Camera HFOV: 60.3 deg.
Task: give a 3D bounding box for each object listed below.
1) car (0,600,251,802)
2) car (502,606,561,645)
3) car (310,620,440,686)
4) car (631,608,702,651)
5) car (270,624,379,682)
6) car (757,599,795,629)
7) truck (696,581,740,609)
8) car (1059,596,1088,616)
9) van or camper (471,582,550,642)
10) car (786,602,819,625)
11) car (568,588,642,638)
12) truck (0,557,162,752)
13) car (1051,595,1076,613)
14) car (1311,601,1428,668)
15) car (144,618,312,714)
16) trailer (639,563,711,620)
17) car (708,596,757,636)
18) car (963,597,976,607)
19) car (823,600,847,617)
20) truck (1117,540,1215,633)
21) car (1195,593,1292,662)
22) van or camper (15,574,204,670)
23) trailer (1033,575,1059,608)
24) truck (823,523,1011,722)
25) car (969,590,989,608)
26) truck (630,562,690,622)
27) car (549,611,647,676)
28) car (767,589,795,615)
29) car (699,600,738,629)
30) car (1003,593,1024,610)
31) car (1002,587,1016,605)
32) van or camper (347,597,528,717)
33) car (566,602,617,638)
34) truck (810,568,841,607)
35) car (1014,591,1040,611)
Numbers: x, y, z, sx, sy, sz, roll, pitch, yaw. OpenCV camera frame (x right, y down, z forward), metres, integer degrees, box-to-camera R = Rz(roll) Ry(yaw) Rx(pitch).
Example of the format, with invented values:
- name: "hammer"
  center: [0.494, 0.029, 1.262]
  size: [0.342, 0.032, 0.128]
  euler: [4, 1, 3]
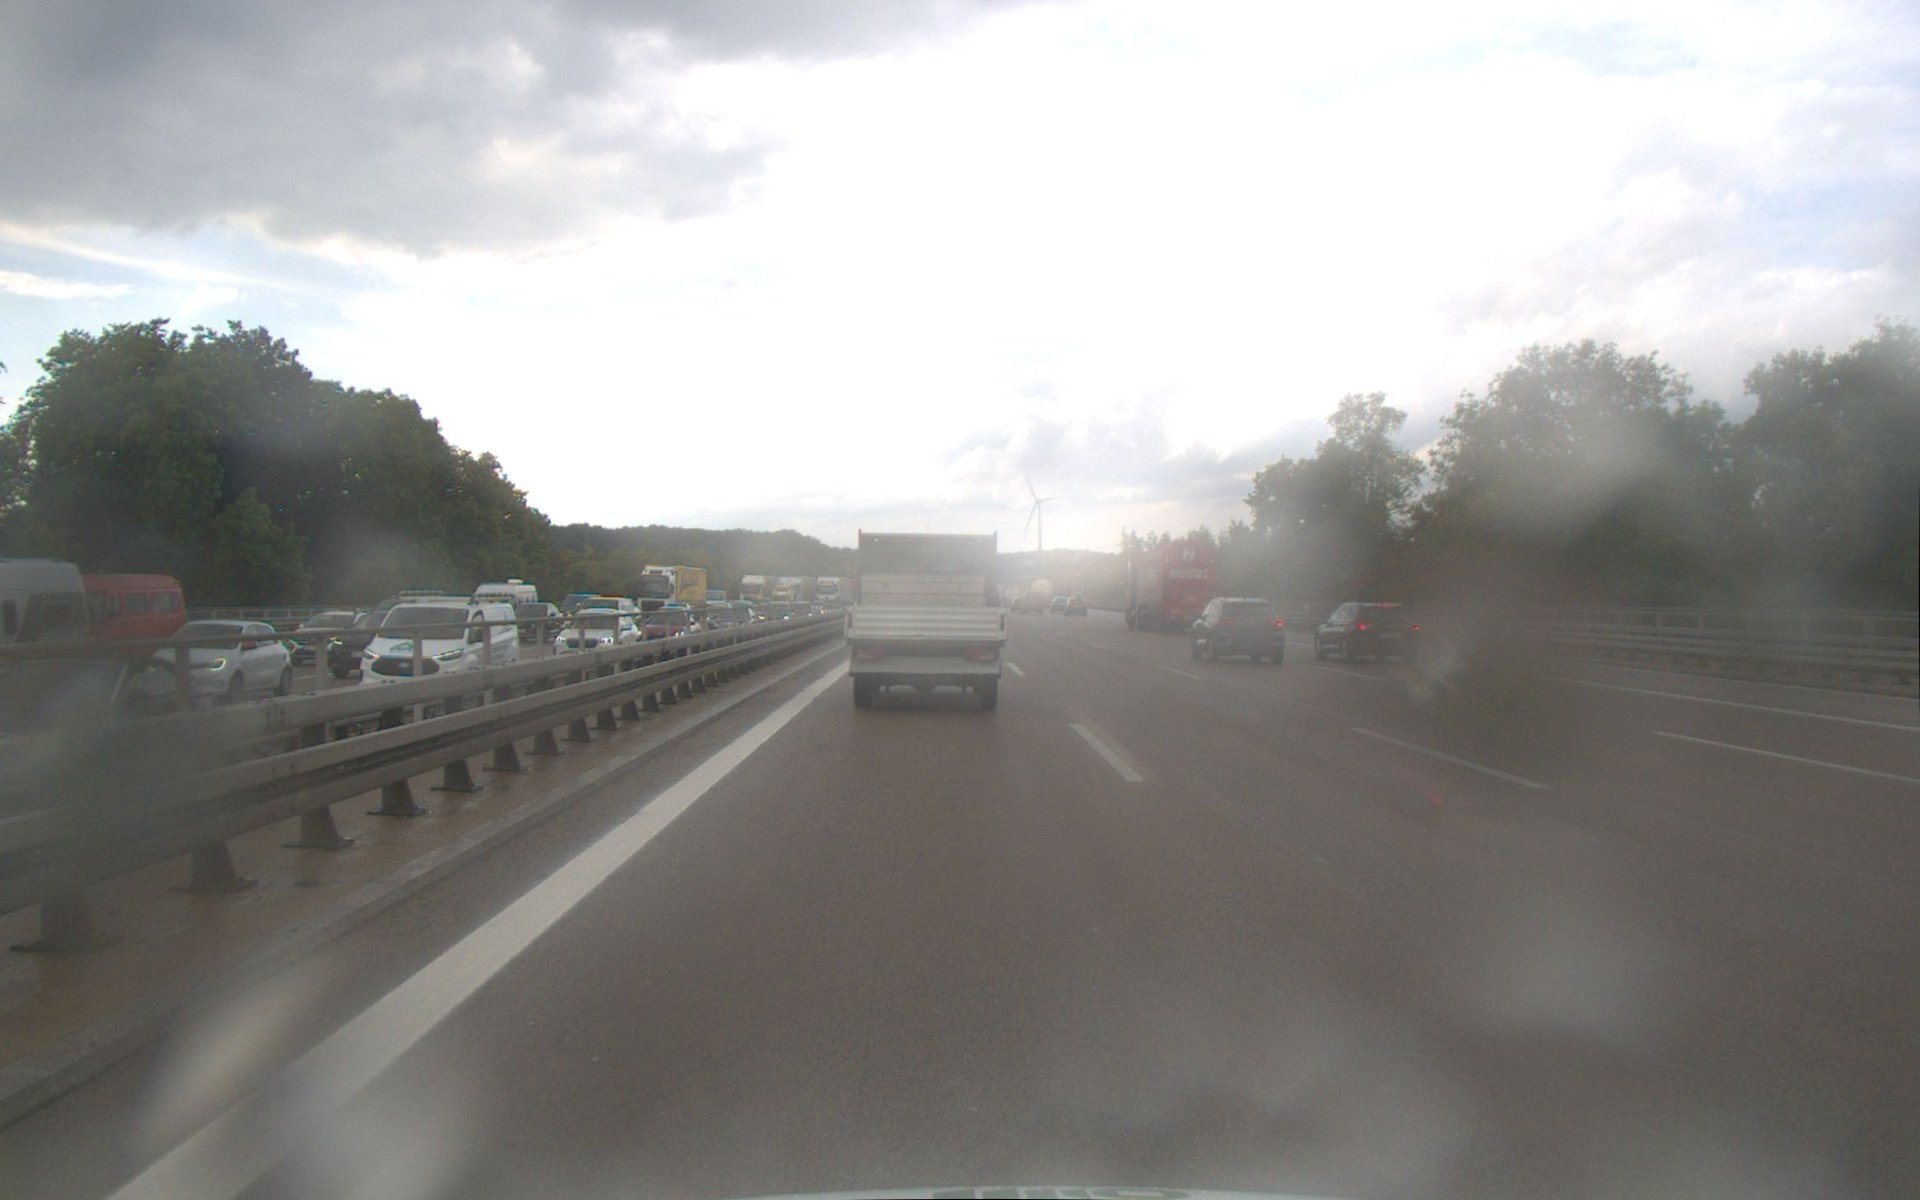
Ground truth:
- name: "car"
  center: [-10.020, 1.019, 18.876]
  size: [1.908, 1.983, 4.724]
  euler: [0, 0, -1]
- name: "car"
  center: [-18.417, 1.082, 71.189]
  size: [1.643, 1.607, 3.998]
  euler: [-1, 0, -2]
- name: "car"
  center: [-14.546, 1.275, 41.389]
  size: [1.643, 1.433, 5.014]
  euler: [0, 0, -2]
- name: "car"
  center: [-10.815, 1.059, 61.297]
  size: [1.836, 1.416, 5.363]
  euler: [0, 0, -2]
- name: "car"
  center: [-18.319, 1.510, 47.861]
  size: [1.754, 1.527, 3.998]
  euler: [-1, 0, -2]
- name: "car"
  center: [-10.880, 0.804, 98.106]
  size: [1.830, 1.699, 5.172]
  euler: [0, 0, -2]
- name: "truck"
  center: [-22.113, -0.437, 151.668]
  size: [2.625, 2.413, 9.274]
  euler: [-1, 0, 0]
- name: "car"
  center: [9.763, 0.492, 142.846]
  size: [2.062, 1.634, 5.064]
  euler: [0, 0, -1]
- name: "van or camper"
  center: [-22.050, 0.541, 81.490]
  size: [2.157, 2.813, 7.228]
  euler: [0, 0, -2]
- name: "car"
  center: [-10.620, 0.913, 111.862]
  size: [1.954, 1.488, 4.840]
  euler: [0, 0, -2]
- name: "car"
  center: [-14.432, 0.531, 67.495]
  size: [1.854, 1.935, 5.002]
  euler: [-1, 0, 1]
- name: "truck"
  center: [-14.097, 0.746, 22.964]
  size: [2.103, 2.648, 8.752]
  euler: [0, 0, -2]
- name: "car"
  center: [10.317, 0.359, 165.322]
  size: [2.004, 1.729, 5.005]
  euler: [0, 0, -1]
- name: "car"
  center: [10.262, 0.830, 41.716]
  size: [1.778, 1.570, 4.356]
  euler: [0, 0, -1]
- name: "car"
  center: [-14.249, 1.235, 32.425]
  size: [1.643, 1.664, 3.998]
  euler: [0, 0, -2]
- name: "trailer"
  center: [-22.417, -0.648, 131.100]
  size: [3.181, 4.302, 14.509]
  euler: [-1, 0, 0]
- name: "car"
  center: [-11.254, 0.753, 82.085]
  size: [1.828, 1.858, 5.706]
  euler: [0, 0, -2]
- name: "car"
  center: [1.311, 0.267, 236.541]
  size: [1.775, 1.471, 3.999]
  euler: [0, 0, -1]
- name: "car"
  center: [-10.507, 0.701, 139.154]
  size: [1.726, 1.407, 4.819]
  euler: [-1, 0, -2]
- name: "truck"
  center: [9.797, -0.649, 80.495]
  size: [3.087, 4.073, 15.639]
  euler: [0, 0, 1]
- name: "car"
  center: [6.868, 0.638, 40.387]
  size: [1.755, 1.590, 3.722]
  euler: [1, 0, 1]
- name: "van or camper"
  center: [-22.338, 0.545, 43.812]
  size: [1.900, 2.345, 6.232]
  euler: [-1, 0, -1]
- name: "trailer"
  center: [11.586, -1.132, 222.976]
  size: [3.263, 4.249, 11.841]
  euler: [1, 0, 2]
- name: "truck"
  center: [-0.622, 0.262, 24.323]
  size: [2.305, 2.450, 7.356]
  euler: [1, 0, -1]
- name: "car"
  center: [1.923, -0.122, 168.558]
  size: [1.932, 1.729, 3.999]
  euler: [0, 0, -2]
- name: "truck"
  center: [-22.492, -0.602, 124.436]
  size: [3.181, 4.324, 6.881]
  euler: [-1, 0, 0]
- name: "car"
  center: [-10.437, 1.217, 48.063]
  size: [1.788, 1.704, 5.356]
  euler: [0, 0, -1]
- name: "car"
  center: [-18.345, 0.218, 169.794]
  size: [2.112, 2.548, 6.772]
  euler: [-1, 0, 0]
- name: "car"
  center: [-14.787, 0.892, 101.455]
  size: [1.819, 1.738, 4.000]
  euler: [-1, 0, 0]
- name: "car"
  center: [5.461, 0.162, 169.061]
  size: [2.003, 1.729, 4.000]
  euler: [0, 0, -1]
- name: "car"
  center: [6.796, -0.555, 230.060]
  size: [2.003, 2.541, 4.001]
  euler: [0, 0, 2]
- name: "van or camper"
  center: [-10.081, 1.007, 32.400]
  size: [1.944, 2.104, 5.640]
  euler: [0, 0, -2]
- name: "car"
  center: [-18.357, 0.969, 82.578]
  size: [1.693, 1.640, 4.461]
  euler: [-1, 1, -3]
- name: "truck"
  center: [-15.175, -1.375, 186.743]
  size: [2.821, 4.253, 7.557]
  euler: [-1, 0, 0]
- name: "car"
  center: [6.080, 0.099, 149.868]
  size: [2.055, 1.729, 3.999]
  euler: [0, 0, -2]
